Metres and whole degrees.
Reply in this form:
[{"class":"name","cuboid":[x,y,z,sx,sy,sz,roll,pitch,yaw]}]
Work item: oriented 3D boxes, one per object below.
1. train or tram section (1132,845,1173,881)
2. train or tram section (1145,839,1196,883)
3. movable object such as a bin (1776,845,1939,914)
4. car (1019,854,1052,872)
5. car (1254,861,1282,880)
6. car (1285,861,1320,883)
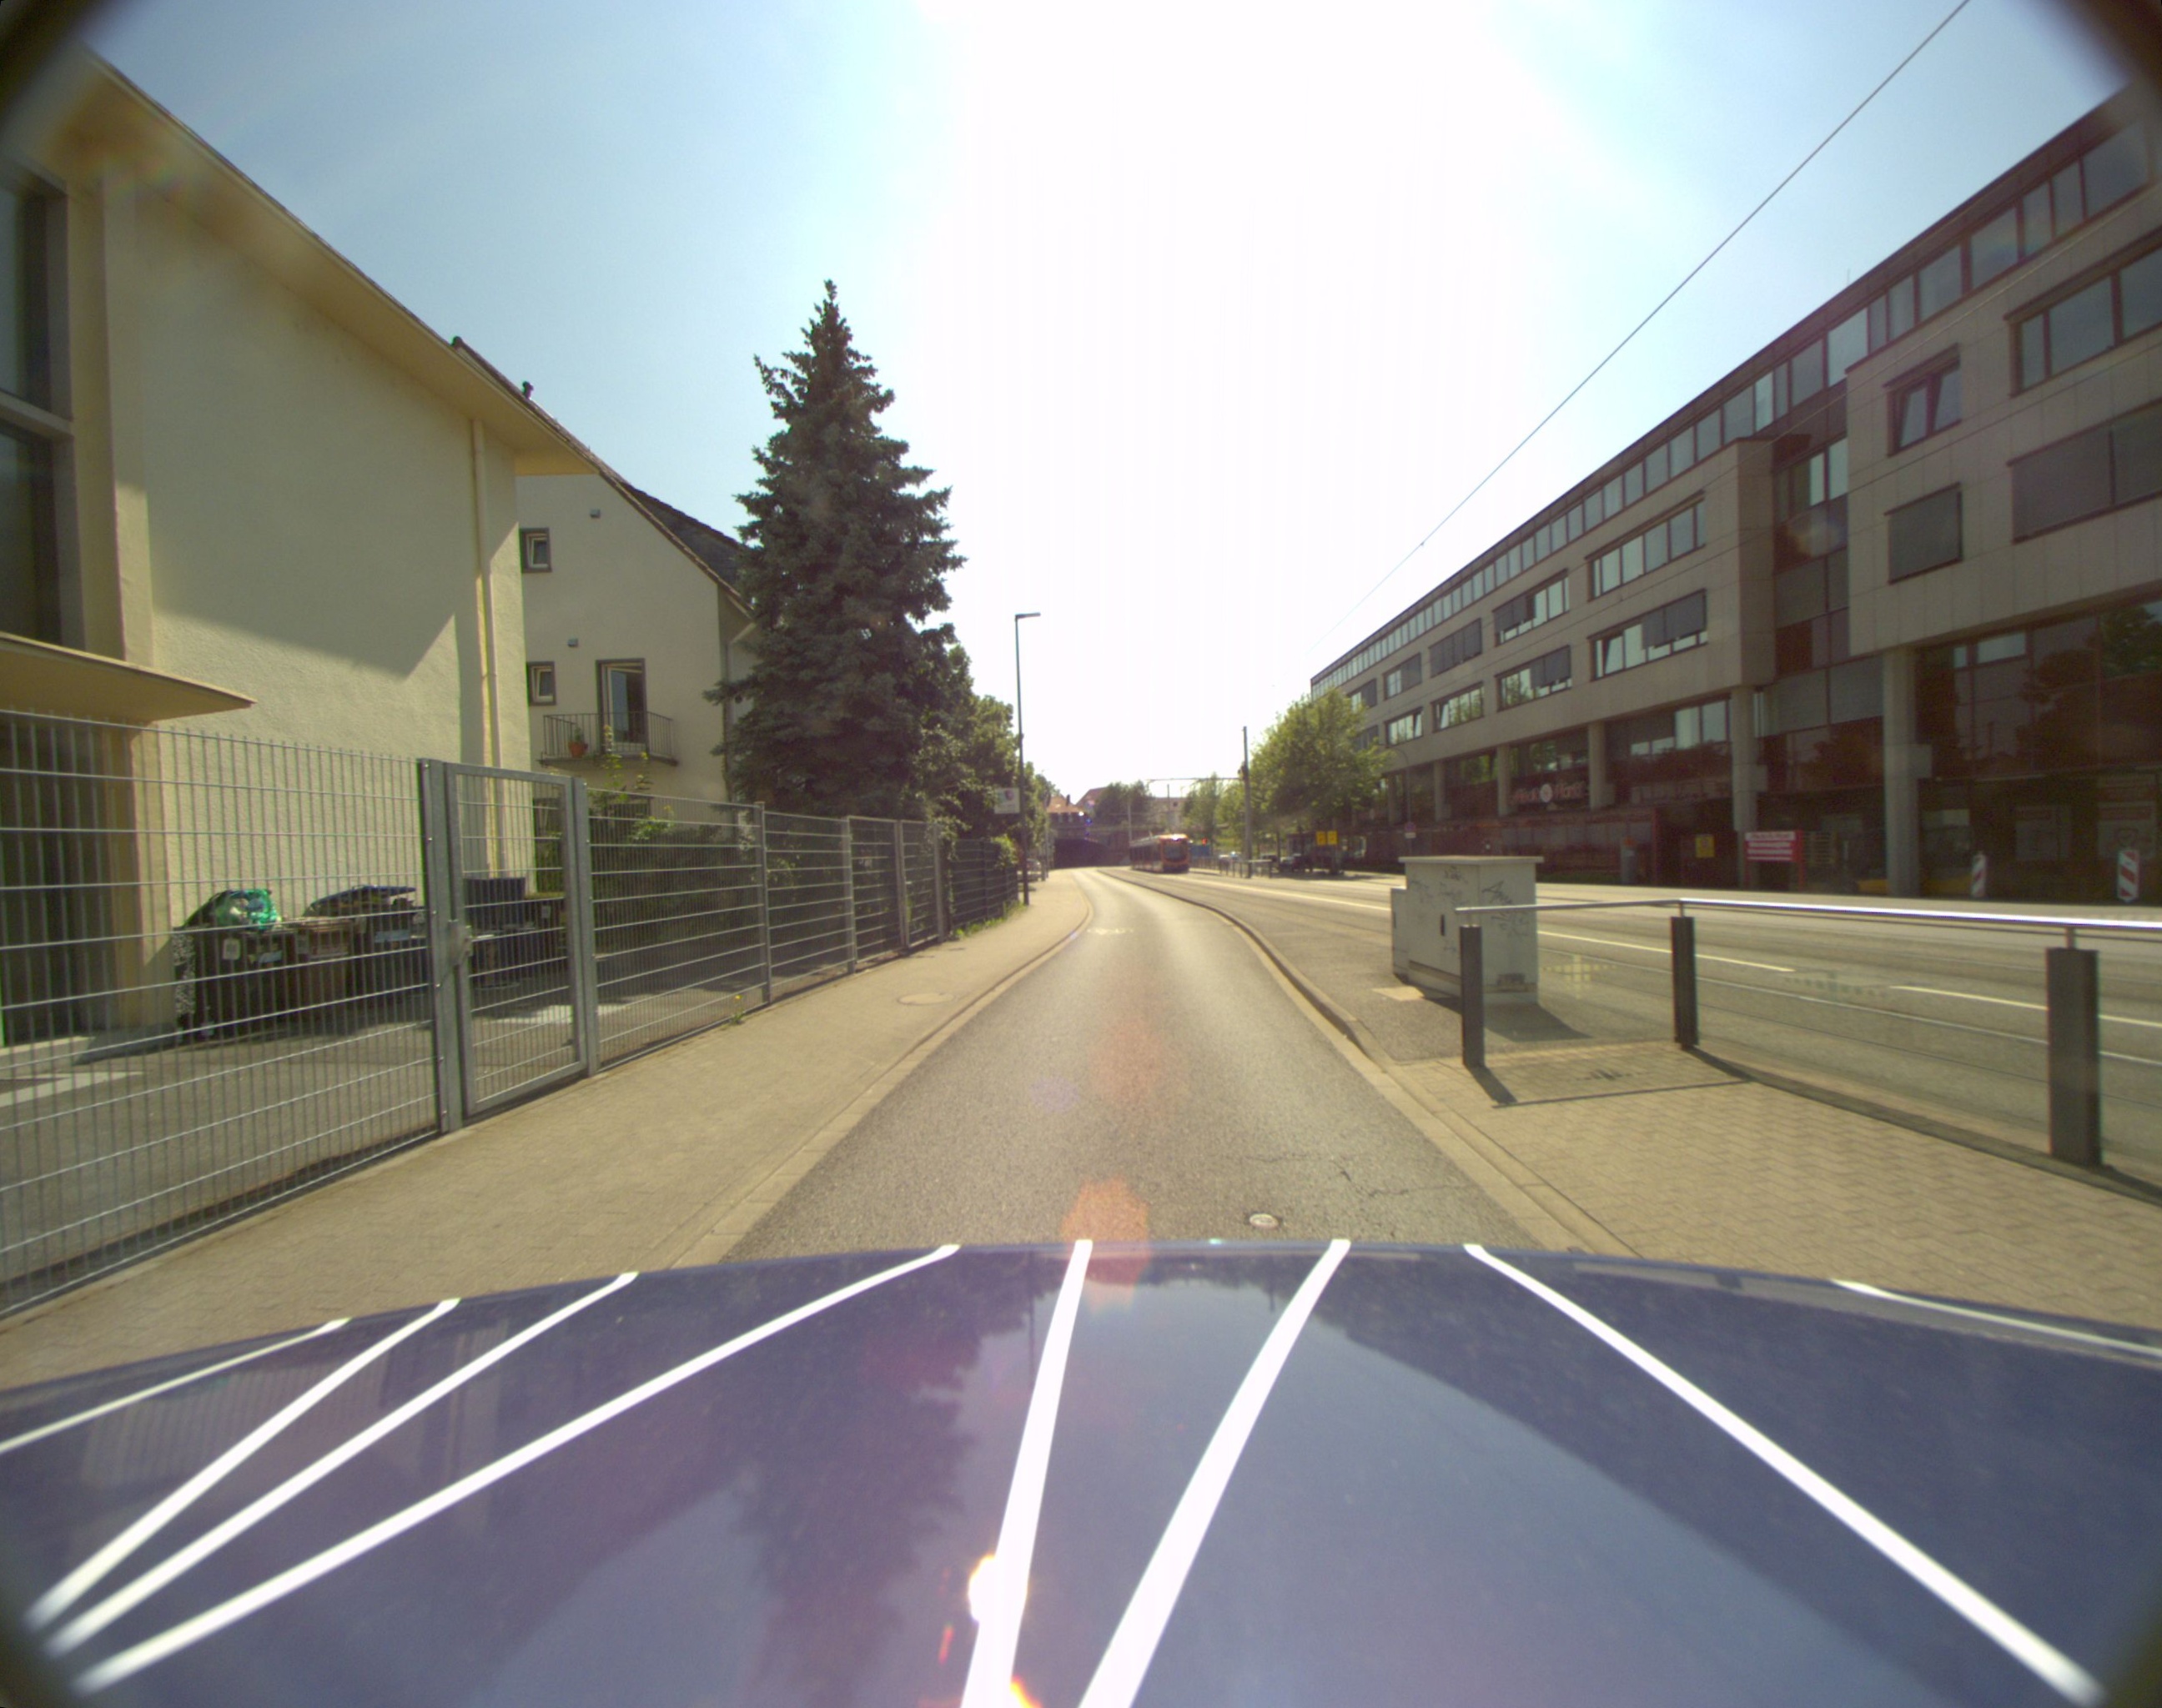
[{"class":"train or tram section","cuboid":[7.452,0.991,80.699,2.681,3.463,13.389,-2,-1,-1]},{"class":"train or tram section","cuboid":[7.800,0.649,67.811,2.681,3.463,12.327,-2,-1,-1]},{"class":"movable object such as a bin","cuboid":[24.668,0.776,24.253,1.748,2.001,3.174,-2,-1,-21]},{"class":"car","cuboid":[-5.658,1.118,94.552,3.998,2.089,1.999,-1,0,-5]},{"class":"car","cuboid":[16.747,1.416,68.095,1.870,1.608,4.002,-1,0,6]},{"class":"car","cuboid":[17.617,1.428,60.596,1.997,1.613,4.002,-1,0,6]}]
